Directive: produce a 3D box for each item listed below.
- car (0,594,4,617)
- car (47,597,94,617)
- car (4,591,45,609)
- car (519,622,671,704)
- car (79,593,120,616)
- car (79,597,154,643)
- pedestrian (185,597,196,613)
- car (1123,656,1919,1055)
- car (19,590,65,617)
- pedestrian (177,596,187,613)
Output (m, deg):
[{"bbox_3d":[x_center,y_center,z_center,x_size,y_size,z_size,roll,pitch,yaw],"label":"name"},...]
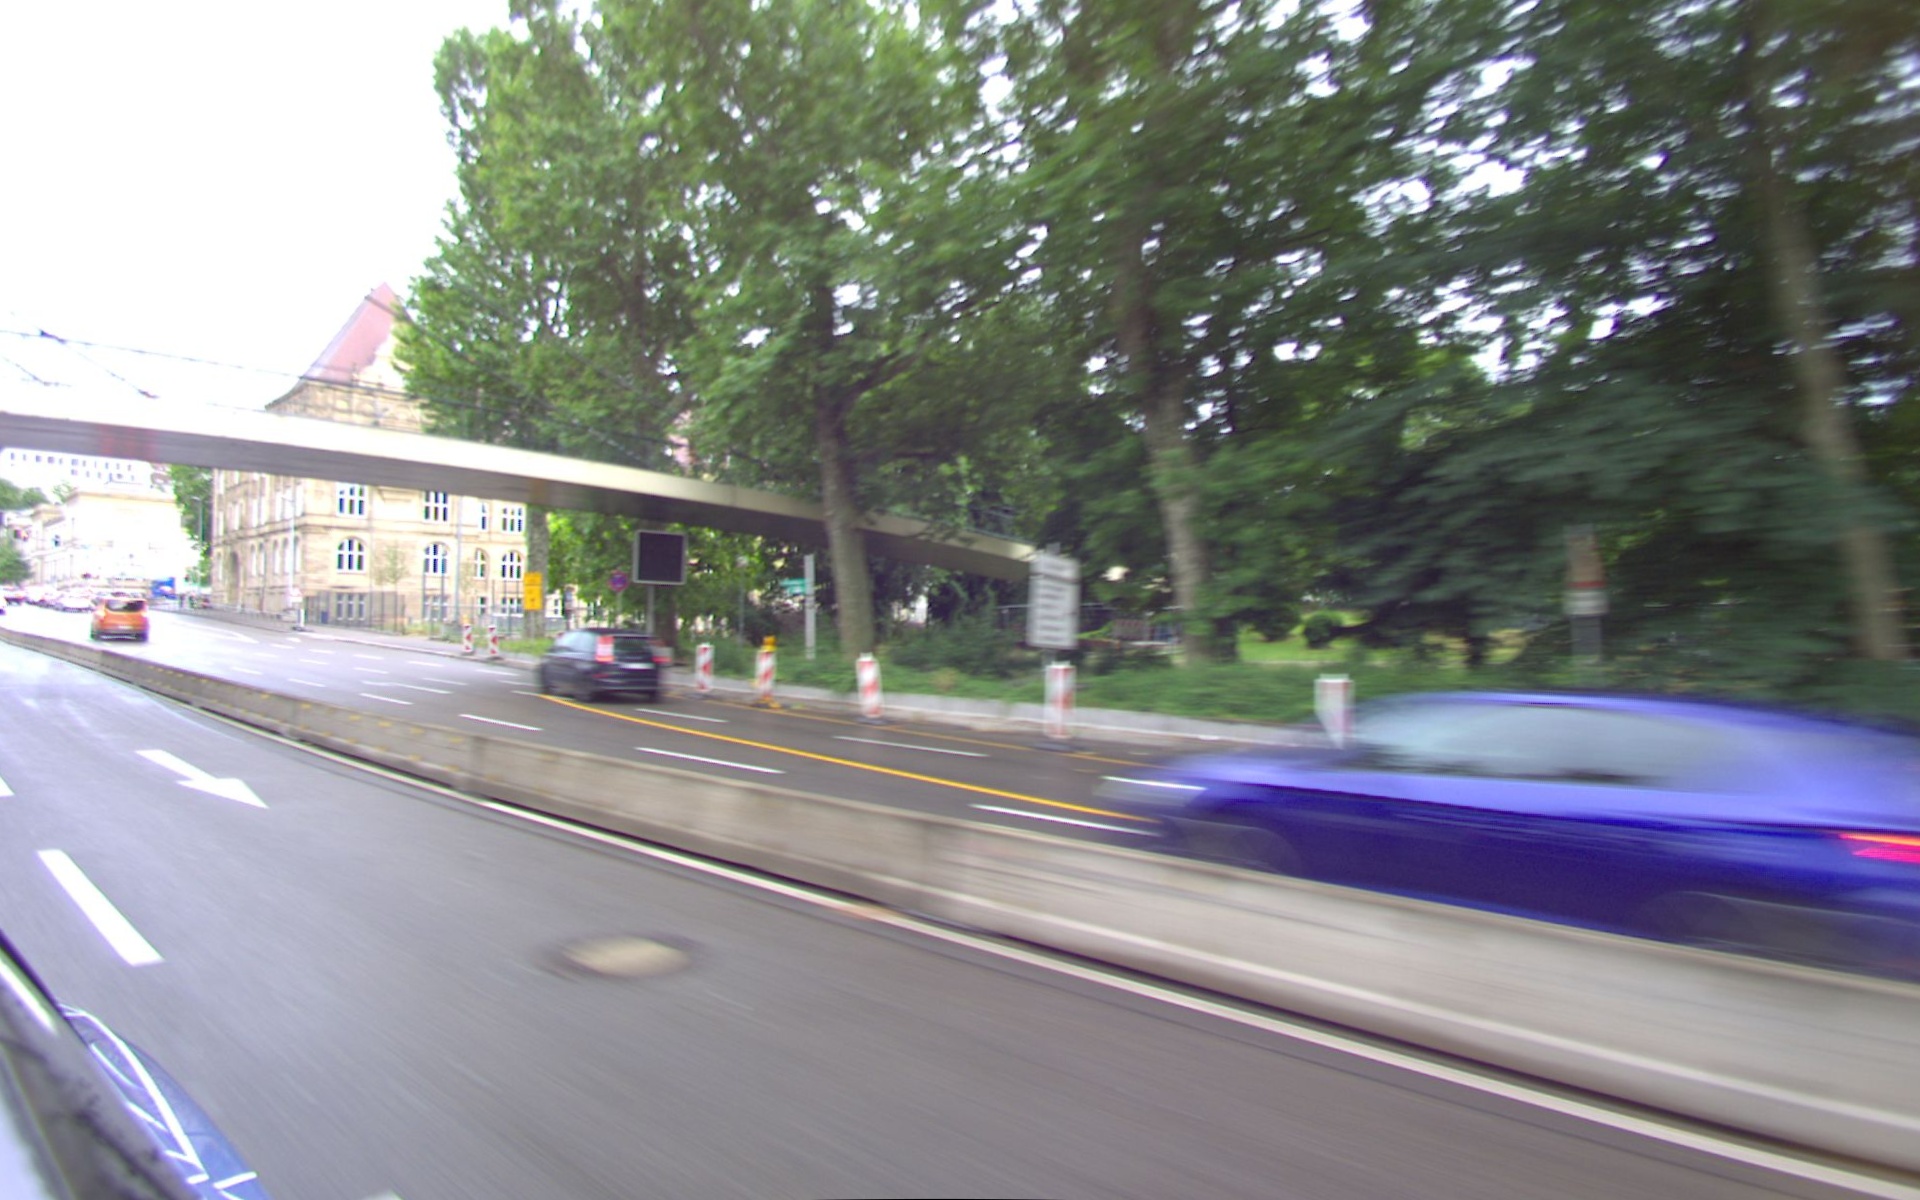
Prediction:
[{"bbox_3d":[-68.370,0.284,70.597,4.895,1.579,1.874,2,-2,40],"label":"car"},{"bbox_3d":[-72.411,0.589,82.381,4.205,1.393,1.975,2,-2,37],"label":"car"},{"bbox_3d":[-83.762,-0.011,90.622,4.206,1.393,1.974,2,-2,38],"label":"car"},{"bbox_3d":[-8.323,1.385,22.873,2.004,1.666,4.328,2,-3,-37],"label":"car"},{"bbox_3d":[-84.615,0.426,99.524,3.990,2.029,1.977,2,-2,34],"label":"car"},{"bbox_3d":[-40.225,0.927,48.204,5.044,1.951,2.009,2,-2,43],"label":"car"},{"bbox_3d":[-76.573,0.518,100.674,0.733,1.596,0.611,2,-2,35],"label":"pedestrian"},{"bbox_3d":[3.063,1.065,5.345,4.060,1.349,1.694,0,-4,42],"label":"car"},{"bbox_3d":[-79.020,0.293,87.098,3.990,2.029,1.977,2,-2,34],"label":"car"},{"bbox_3d":[-77.116,0.468,100.297,0.735,1.596,0.610,2,-2,42],"label":"pedestrian"}]
